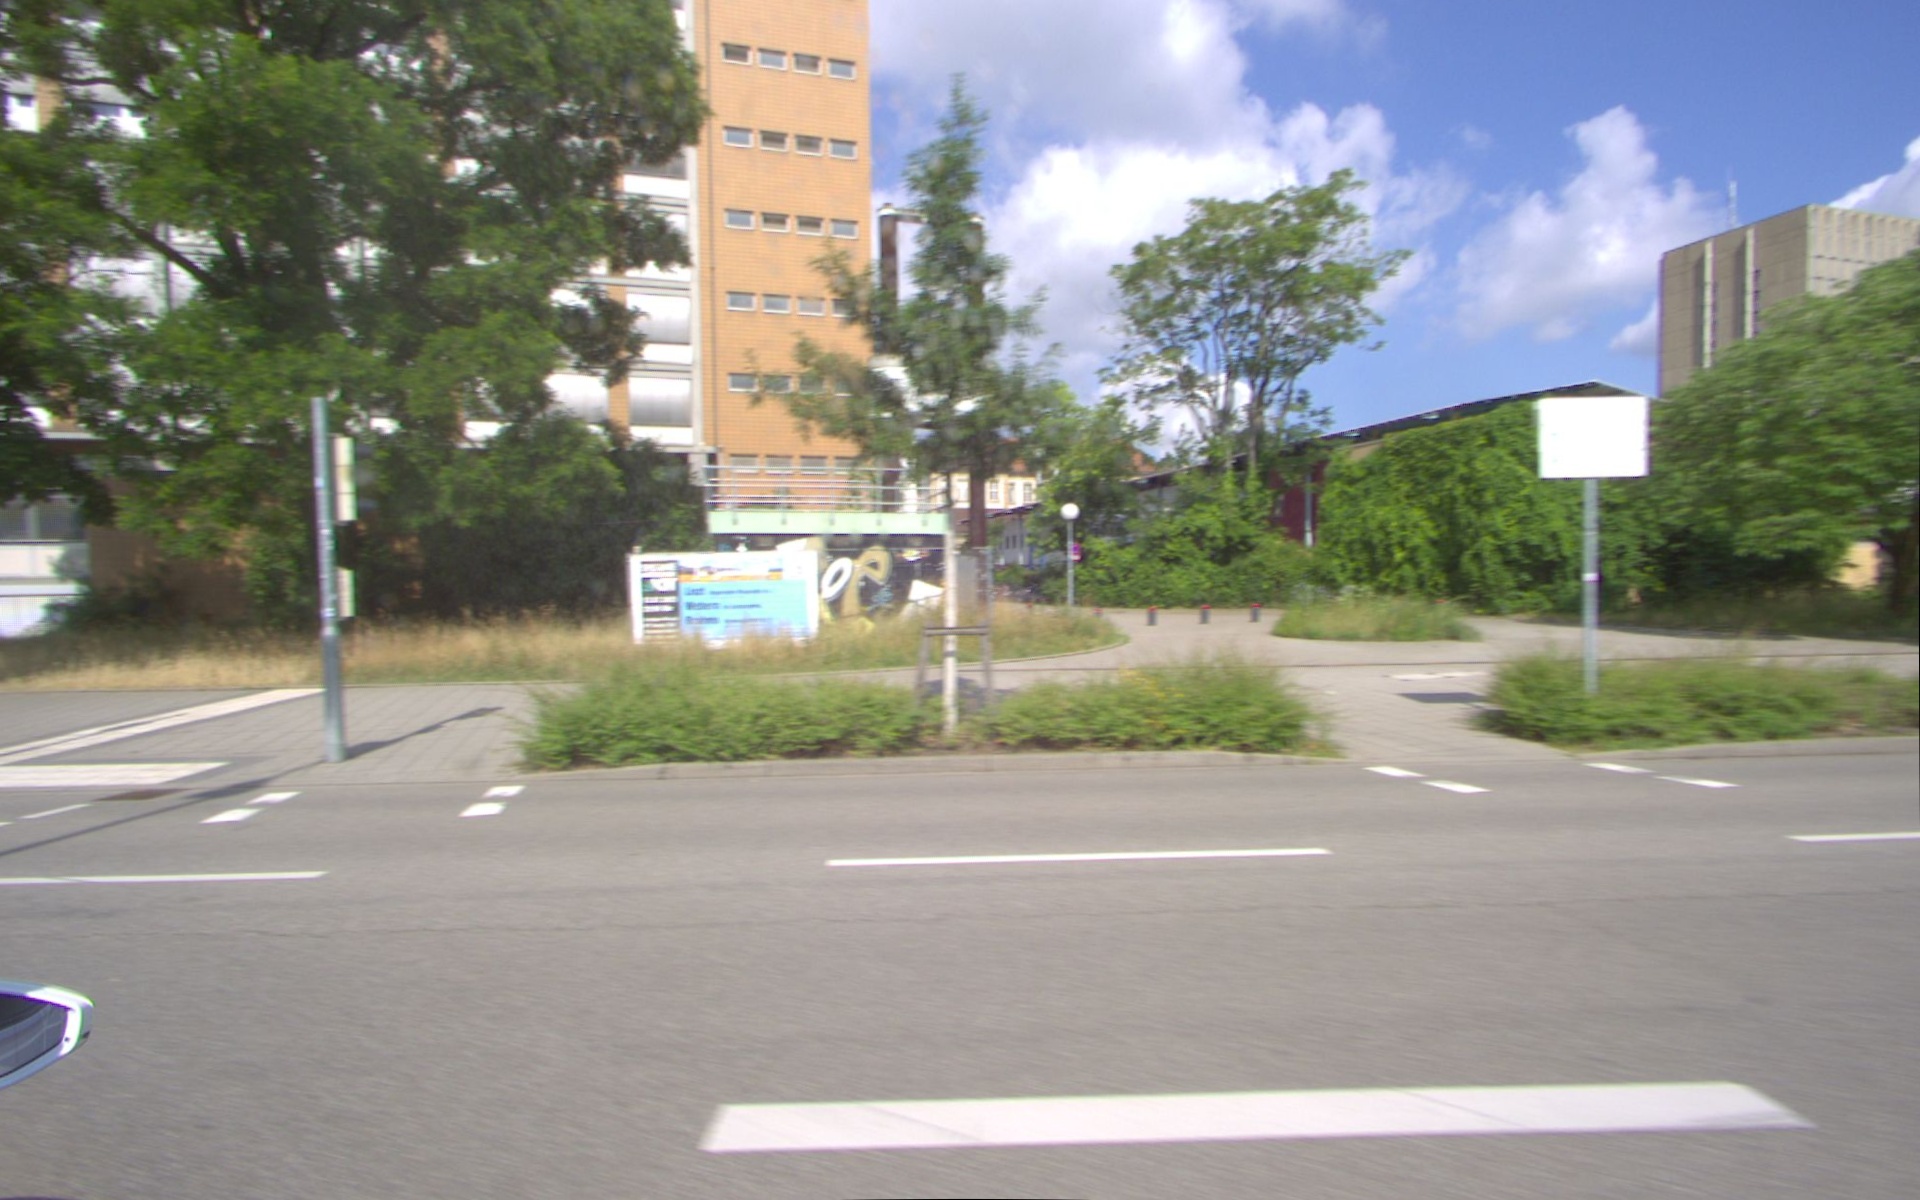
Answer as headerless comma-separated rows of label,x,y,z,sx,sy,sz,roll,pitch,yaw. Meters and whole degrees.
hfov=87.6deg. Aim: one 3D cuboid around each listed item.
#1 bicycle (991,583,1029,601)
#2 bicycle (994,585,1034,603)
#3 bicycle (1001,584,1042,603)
bicycle,2.844,-0.452,57.137,2.025,0.949,0.802,-1,1,-16
bicycle,2.916,-0.325,54.421,2.025,0.949,0.802,-1,1,-16
bicycle,3.244,-0.336,52.880,2.025,0.949,0.802,-1,1,-16
